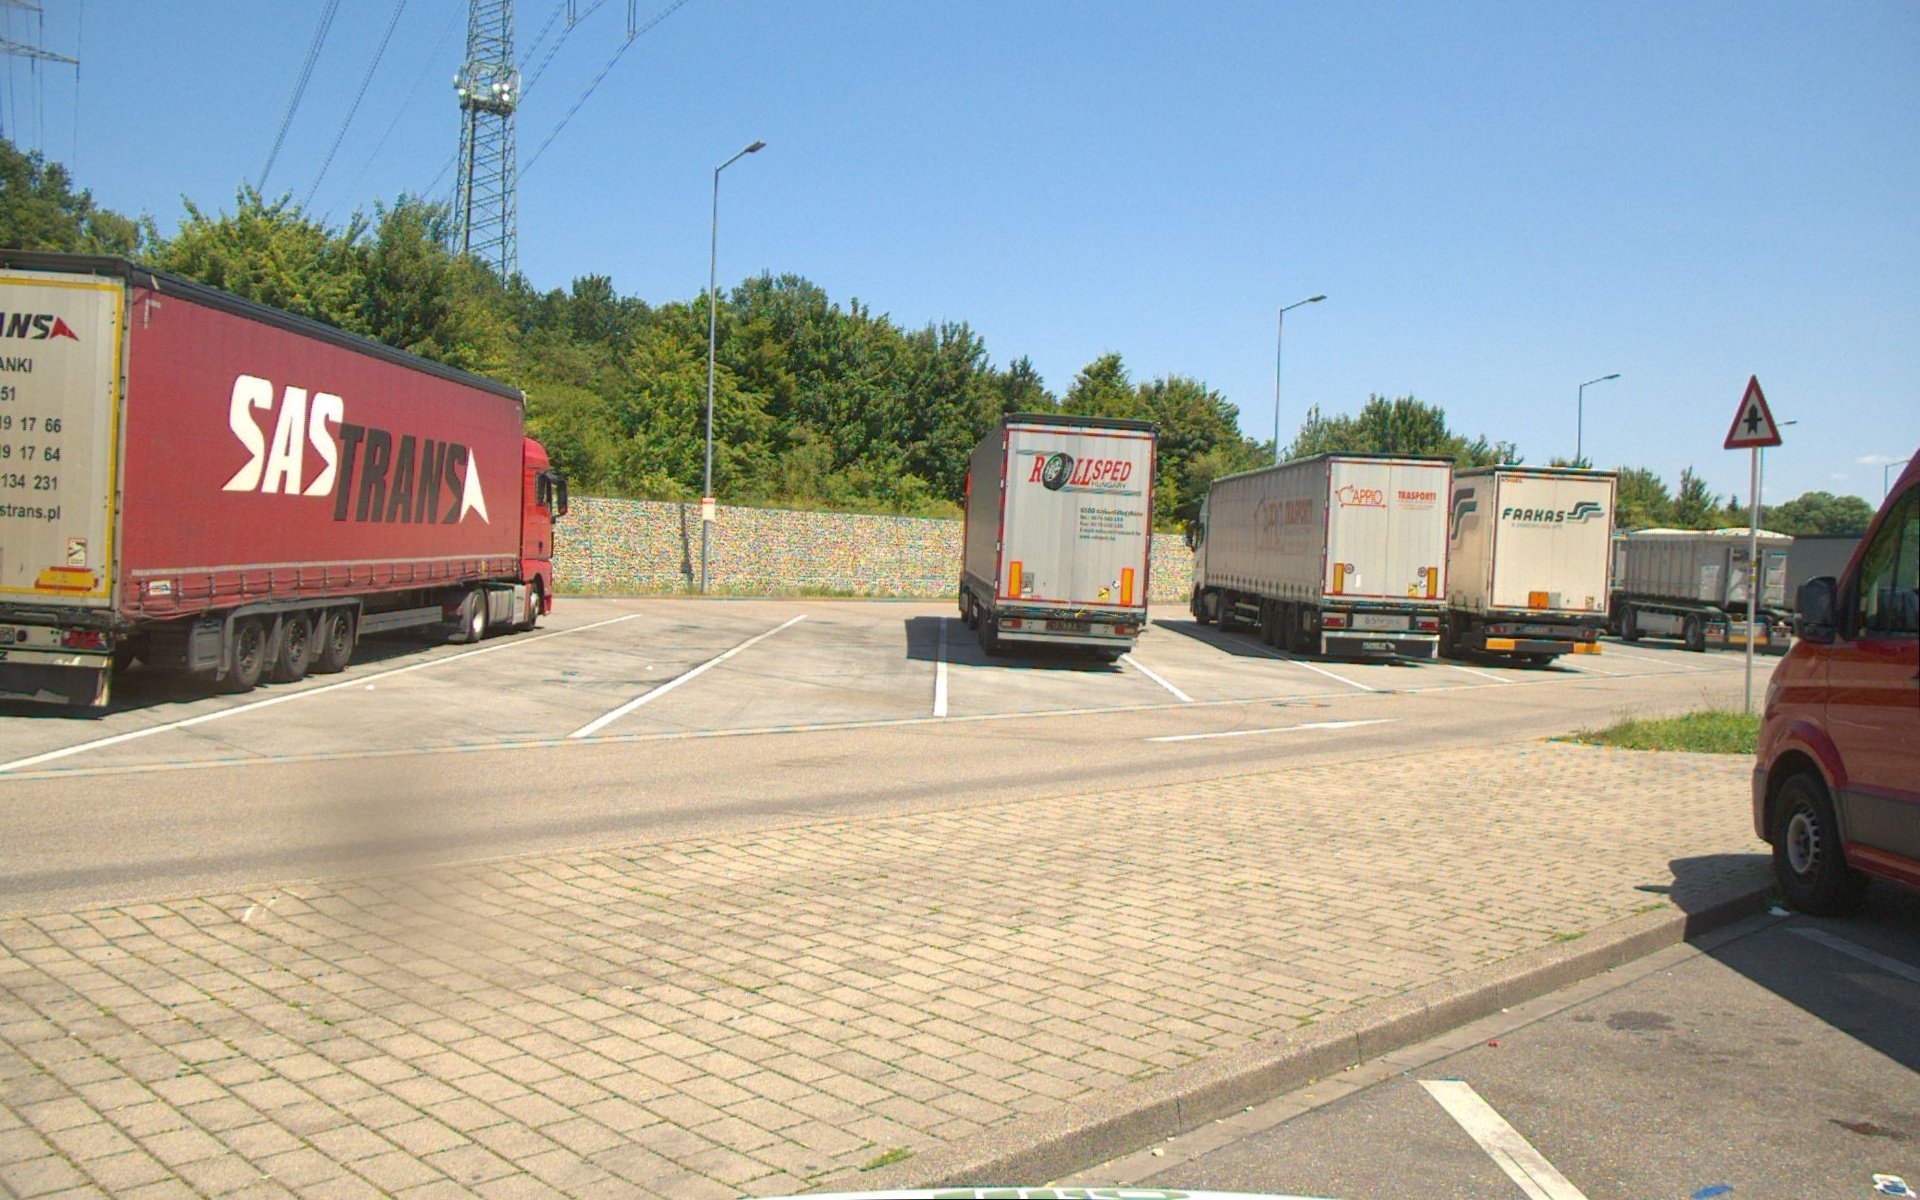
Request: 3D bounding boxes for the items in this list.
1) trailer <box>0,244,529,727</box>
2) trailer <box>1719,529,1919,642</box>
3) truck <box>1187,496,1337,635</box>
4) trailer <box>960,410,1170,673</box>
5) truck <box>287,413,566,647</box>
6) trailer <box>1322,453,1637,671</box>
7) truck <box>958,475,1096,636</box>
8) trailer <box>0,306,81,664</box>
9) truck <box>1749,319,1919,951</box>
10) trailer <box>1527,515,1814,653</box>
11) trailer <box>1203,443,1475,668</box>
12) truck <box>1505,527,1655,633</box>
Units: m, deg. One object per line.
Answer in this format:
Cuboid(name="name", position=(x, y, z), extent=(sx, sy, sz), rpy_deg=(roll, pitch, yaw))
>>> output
Cuboid(name="trailer", position=(-8.691, -1.268, 21.232), extent=(2.764, 4.141, 13.763), rpy_deg=(2, 2, -1))
Cuboid(name="trailer", position=(34.785, -0.701, 65.428), extent=(2.800, 3.972, 13.762), rpy_deg=(2, 2, -1))
Cuboid(name="truck", position=(8.125, -0.980, 45.246), extent=(2.808, 3.421, 5.974), rpy_deg=(2, 2, -1))
Cuboid(name="trailer", position=(1.675, -1.172, 33.130), extent=(2.800, 4.040, 13.761), rpy_deg=(2, 2, -2))
Cuboid(name="truck", position=(-8.800, -1.160, 28.048), extent=(2.755, 3.421, 5.974), rpy_deg=(2, 2, -1))
Cuboid(name="trailer", position=(11.768, -0.986, 39.548), extent=(2.800, 4.180, 13.762), rpy_deg=(2, 2, -1))
Cuboid(name="truck", position=(1.473, -1.088, 39.327), extent=(2.808, 3.421, 5.974), rpy_deg=(2, 2, -1))
Cuboid(name="trailer", position=(-12.487, -1.257, 15.775), extent=(2.651, 4.173, 10.389), rpy_deg=(2, 2, -1))
Cuboid(name="truck", position=(4.994, 0.160, 5.499), extent=(1.969, 2.697, 6.457), rpy_deg=(1, 0, 3))
Cuboid(name="trailer", position=(21.833, -0.674, 52.228), extent=(2.800, 3.662, 13.762), rpy_deg=(2, 2, -1))
Cuboid(name="trailer", position=(8.248, -1.097, 38.484), extent=(2.800, 4.180, 13.762), rpy_deg=(2, 2, -1))
Cuboid(name="truck", position=(21.734, -0.788, 58.323), extent=(2.808, 3.421, 5.974), rpy_deg=(2, 2, -1))
